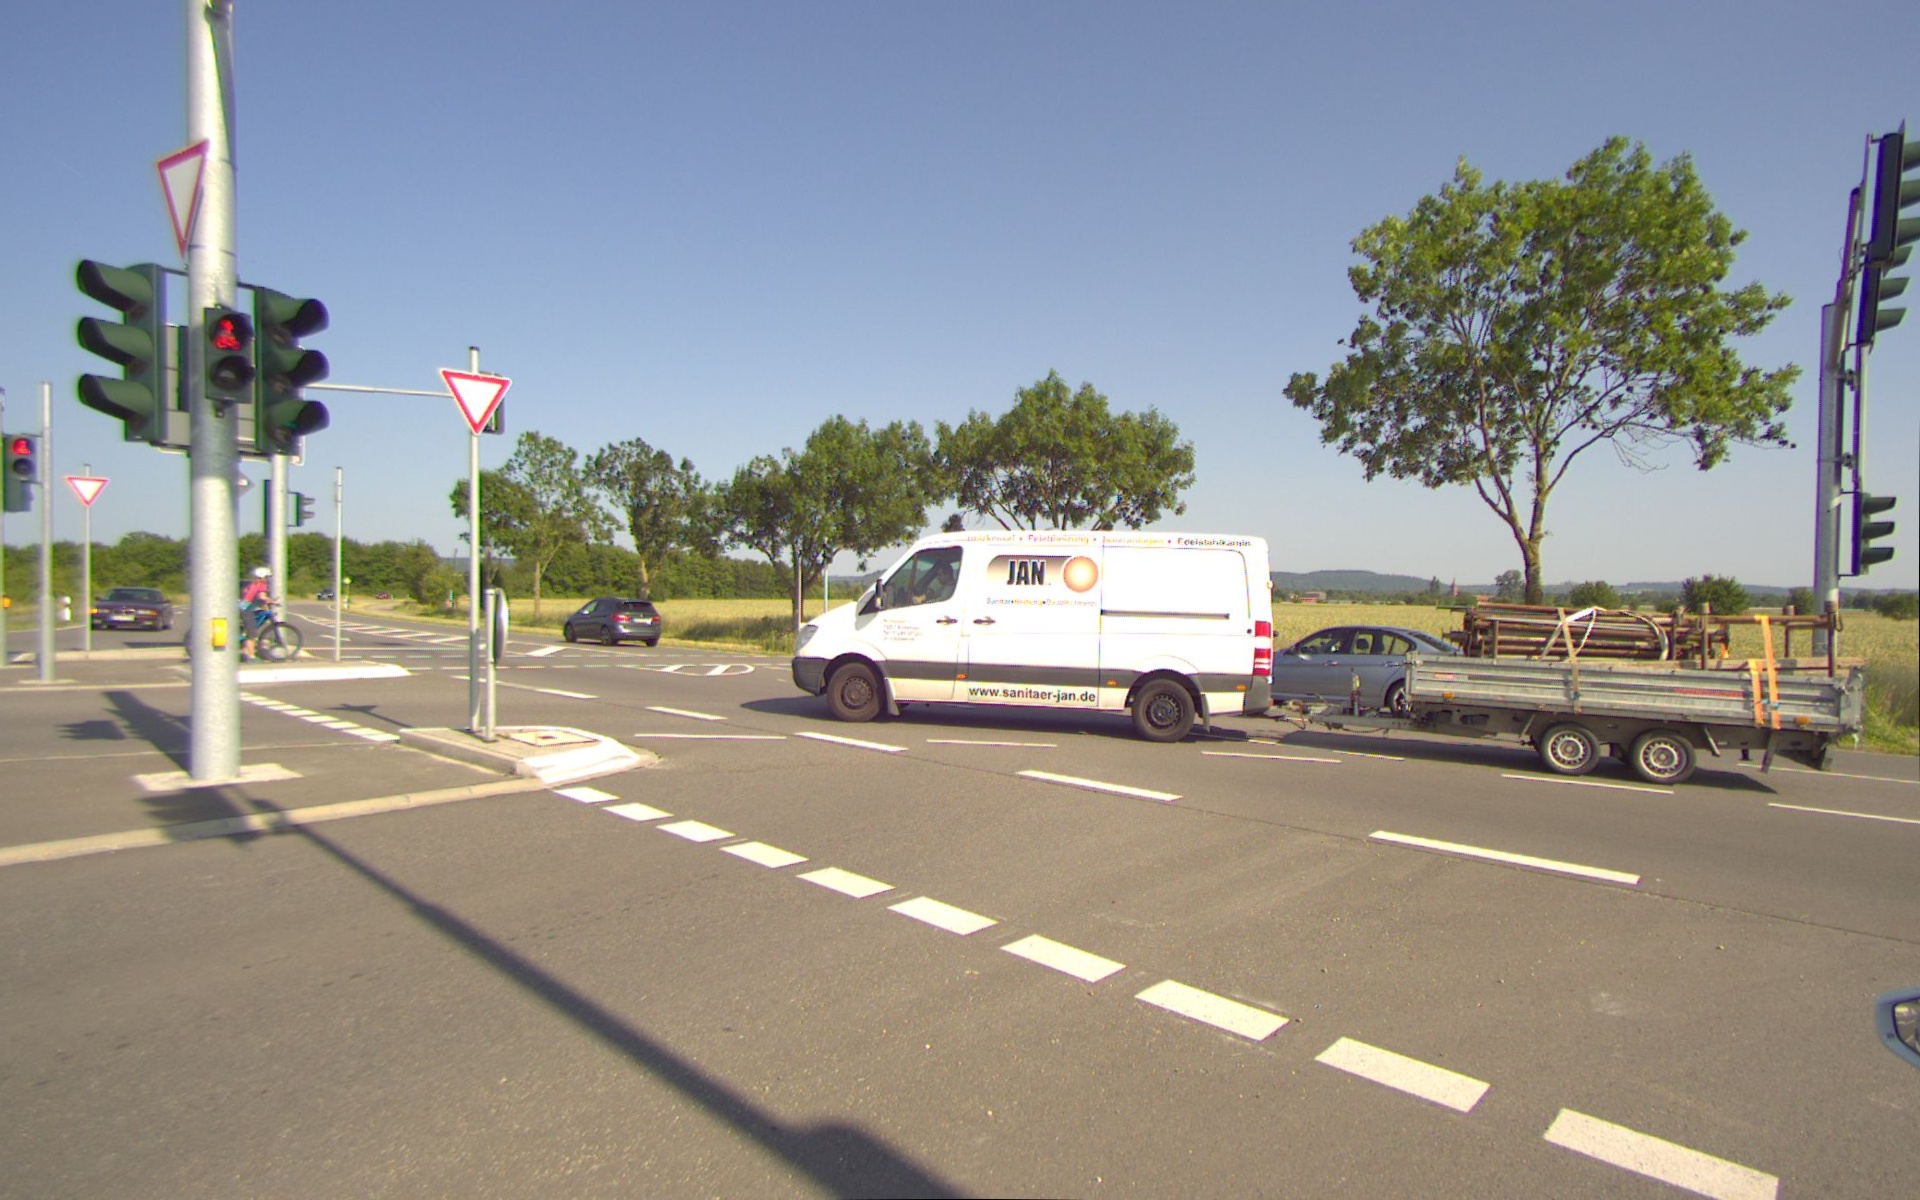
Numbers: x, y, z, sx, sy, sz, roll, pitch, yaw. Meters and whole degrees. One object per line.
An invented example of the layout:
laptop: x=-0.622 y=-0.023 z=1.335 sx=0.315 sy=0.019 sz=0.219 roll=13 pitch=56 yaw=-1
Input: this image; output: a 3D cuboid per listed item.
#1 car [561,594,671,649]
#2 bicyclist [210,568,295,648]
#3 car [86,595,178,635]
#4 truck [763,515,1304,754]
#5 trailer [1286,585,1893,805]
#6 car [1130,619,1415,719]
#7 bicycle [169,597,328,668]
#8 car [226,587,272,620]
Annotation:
car: x=-11.465 y=0.691 z=33.370 sx=1.879 sy=1.646 sz=3.946 roll=4 pitch=-2 yaw=-45
bicyclist: x=-12.709 y=0.149 z=18.049 sx=0.846 sy=1.370 sz=1.068 roll=2 pitch=0 yaw=42
car: x=-26.058 y=0.451 z=31.720 sx=1.722 sy=1.127 sz=3.964 roll=3 pitch=-1 yaw=-33
truck: x=0.871 y=0.322 z=12.335 sx=6.073 sy=2.436 sz=2.072 roll=2 pitch=0 yaw=13
trailer: x=6.162 y=0.813 z=10.547 sx=4.919 sy=1.761 sz=1.978 roll=2 pitch=0 yaw=28
car: x=5.252 y=1.108 z=17.200 sx=4.354 sy=1.395 sz=1.628 roll=1 pitch=-2 yaw=39
bicycle: x=-12.734 y=0.590 z=18.021 sx=1.058 sy=1.164 sz=2.139 roll=2 pitch=0 yaw=42
car: x=-36.583 y=0.172 z=51.746 sx=1.844 sy=1.563 sz=3.961 roll=2 pitch=0 yaw=-34
